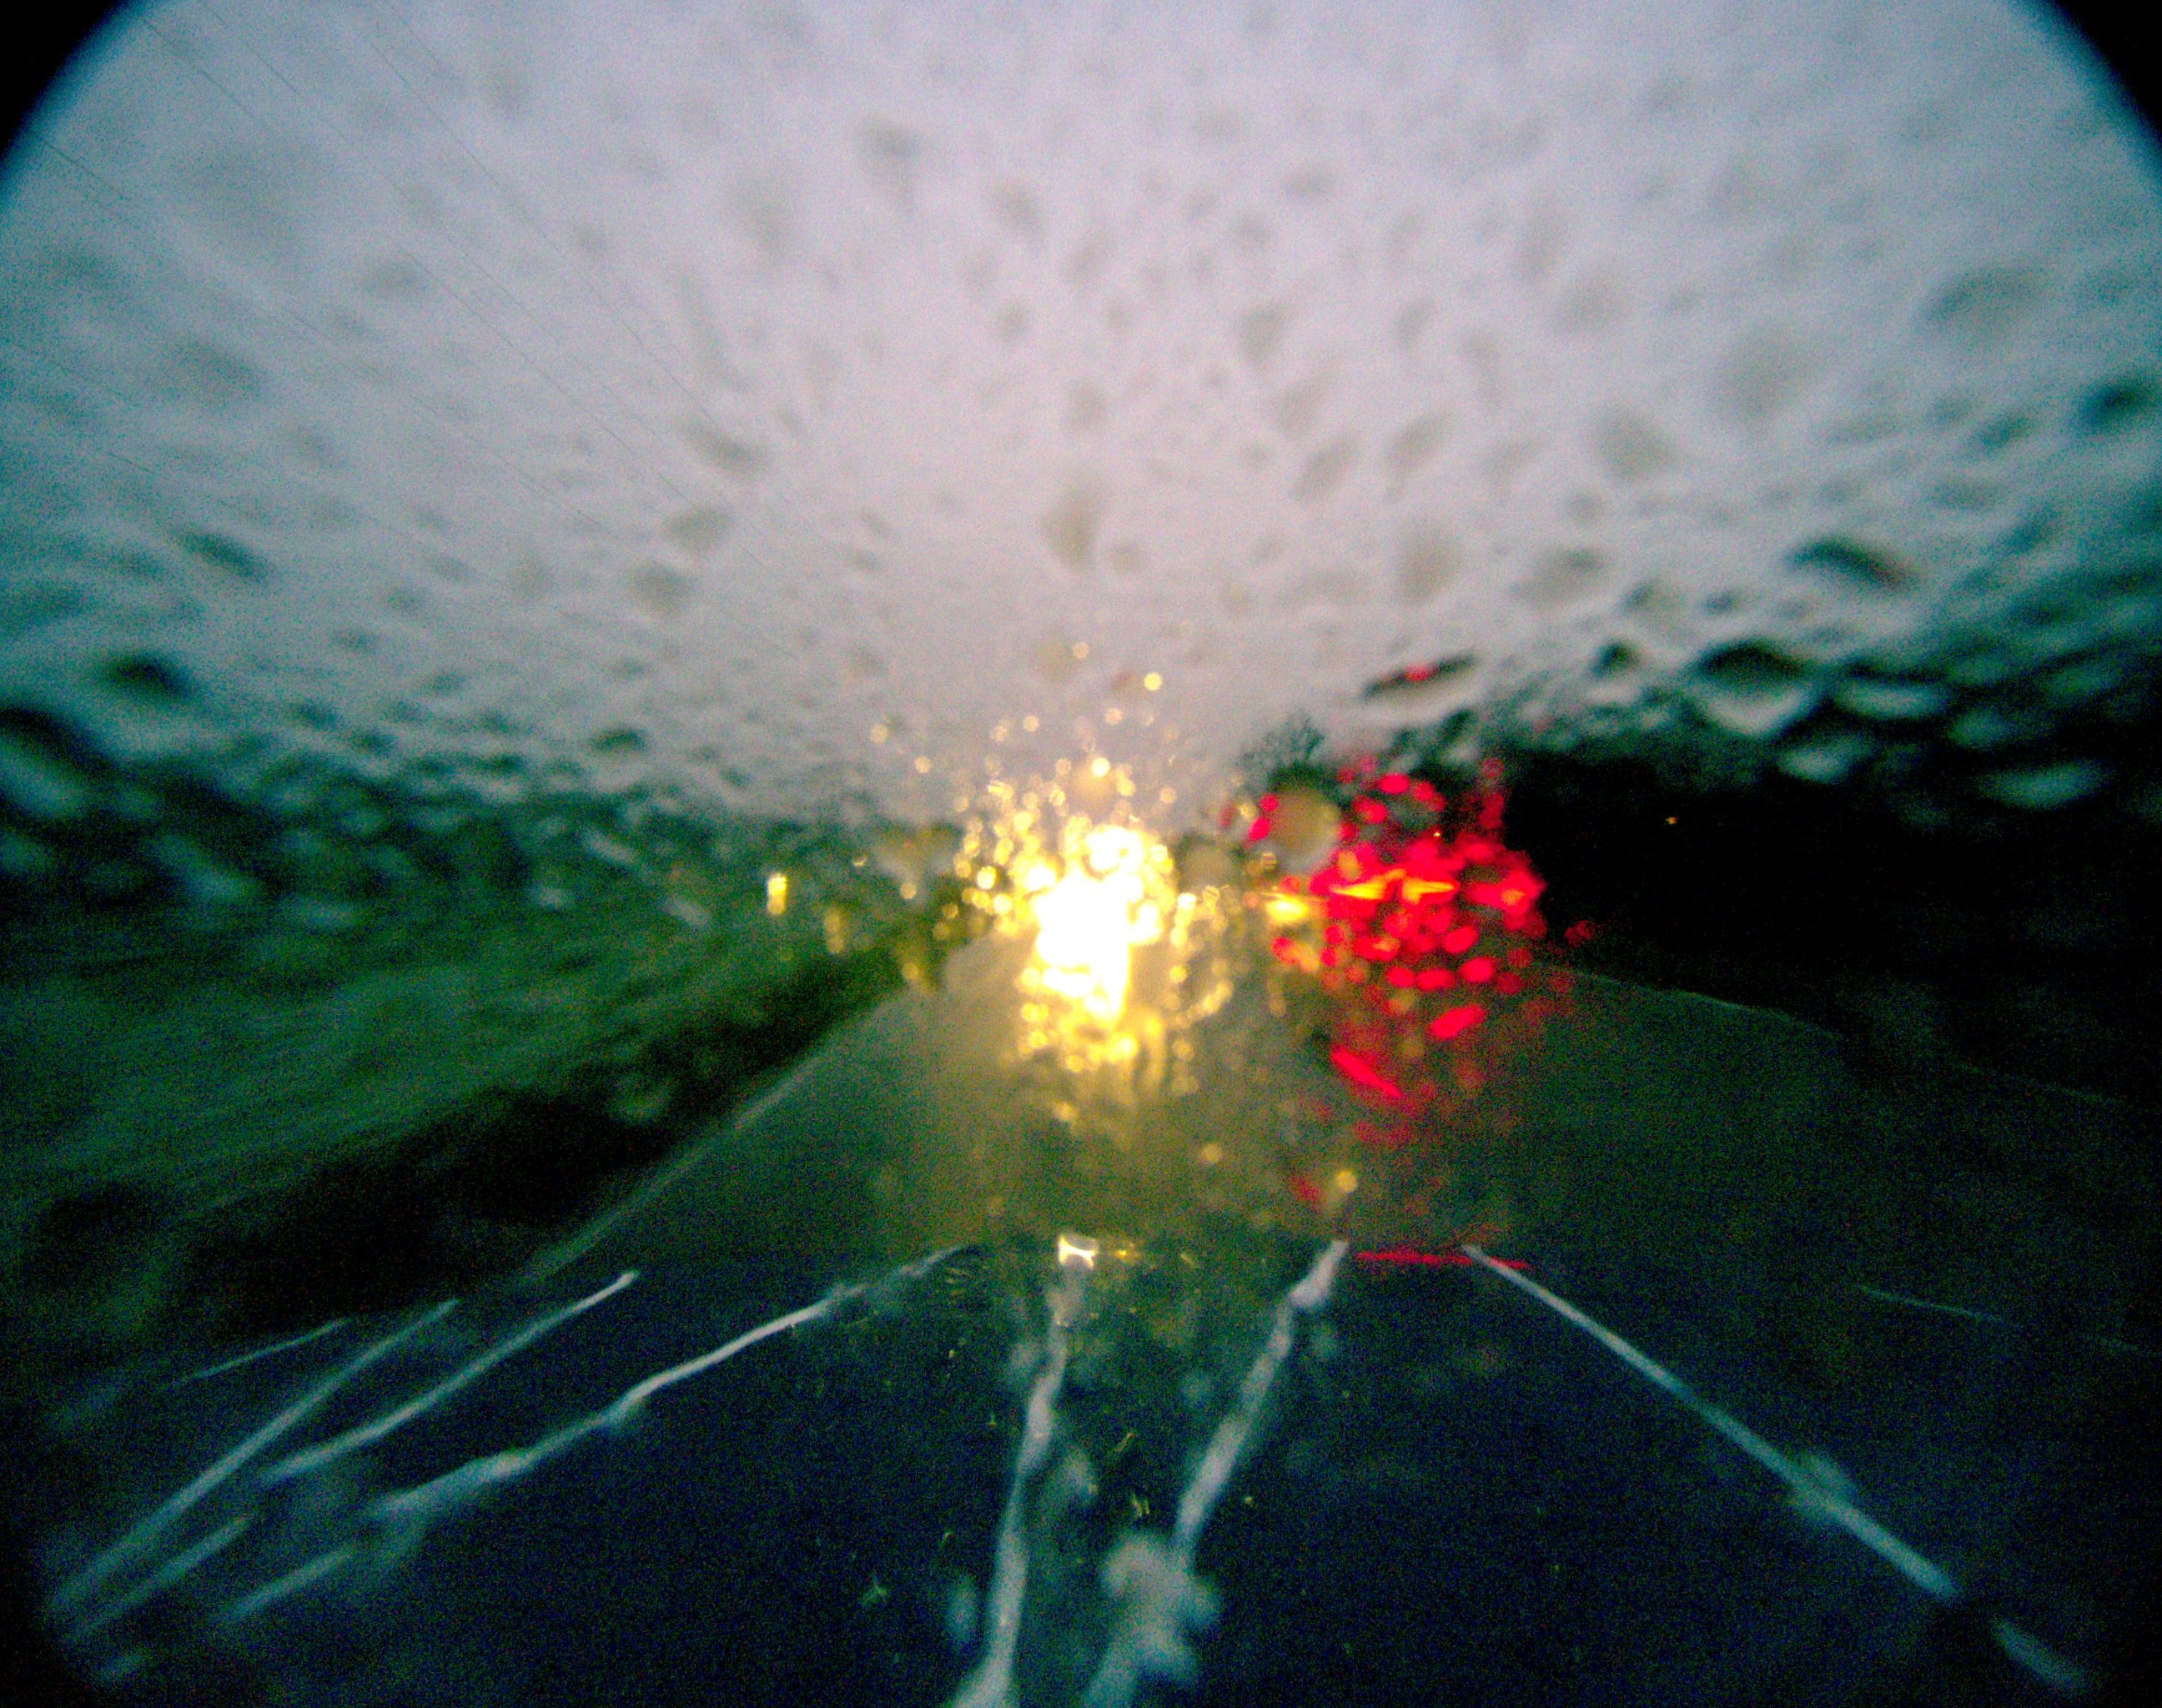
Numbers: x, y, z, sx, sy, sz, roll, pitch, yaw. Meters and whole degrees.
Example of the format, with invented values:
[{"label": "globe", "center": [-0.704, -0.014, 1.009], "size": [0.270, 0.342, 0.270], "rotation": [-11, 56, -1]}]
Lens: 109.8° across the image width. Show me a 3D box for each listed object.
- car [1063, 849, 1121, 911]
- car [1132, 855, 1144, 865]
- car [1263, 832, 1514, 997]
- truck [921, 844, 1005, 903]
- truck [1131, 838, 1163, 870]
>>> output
[{"label": "car", "center": [0.446, 0.871, 27.439], "size": [1.856, 2.002, 4.000], "rotation": [-2, 0, 2]}, {"label": "car", "center": [9.033, 0.871, 121.213], "size": [1.692, 1.498, 4.414], "rotation": [-2, 0, 3]}, {"label": "car", "center": [3.810, 0.656, 10.294], "size": [1.790, 1.740, 4.258], "rotation": [-1, 0, 2]}, {"label": "truck", "center": [-5.822, 0.827, 39.451], "size": [2.510, 2.556, 10.805], "rotation": [-2, 0, 0]}, {"label": "truck", "center": [5.432, -0.035, 63.373], "size": [2.244, 2.453, 5.374], "rotation": [-2, 0, 1]}]
